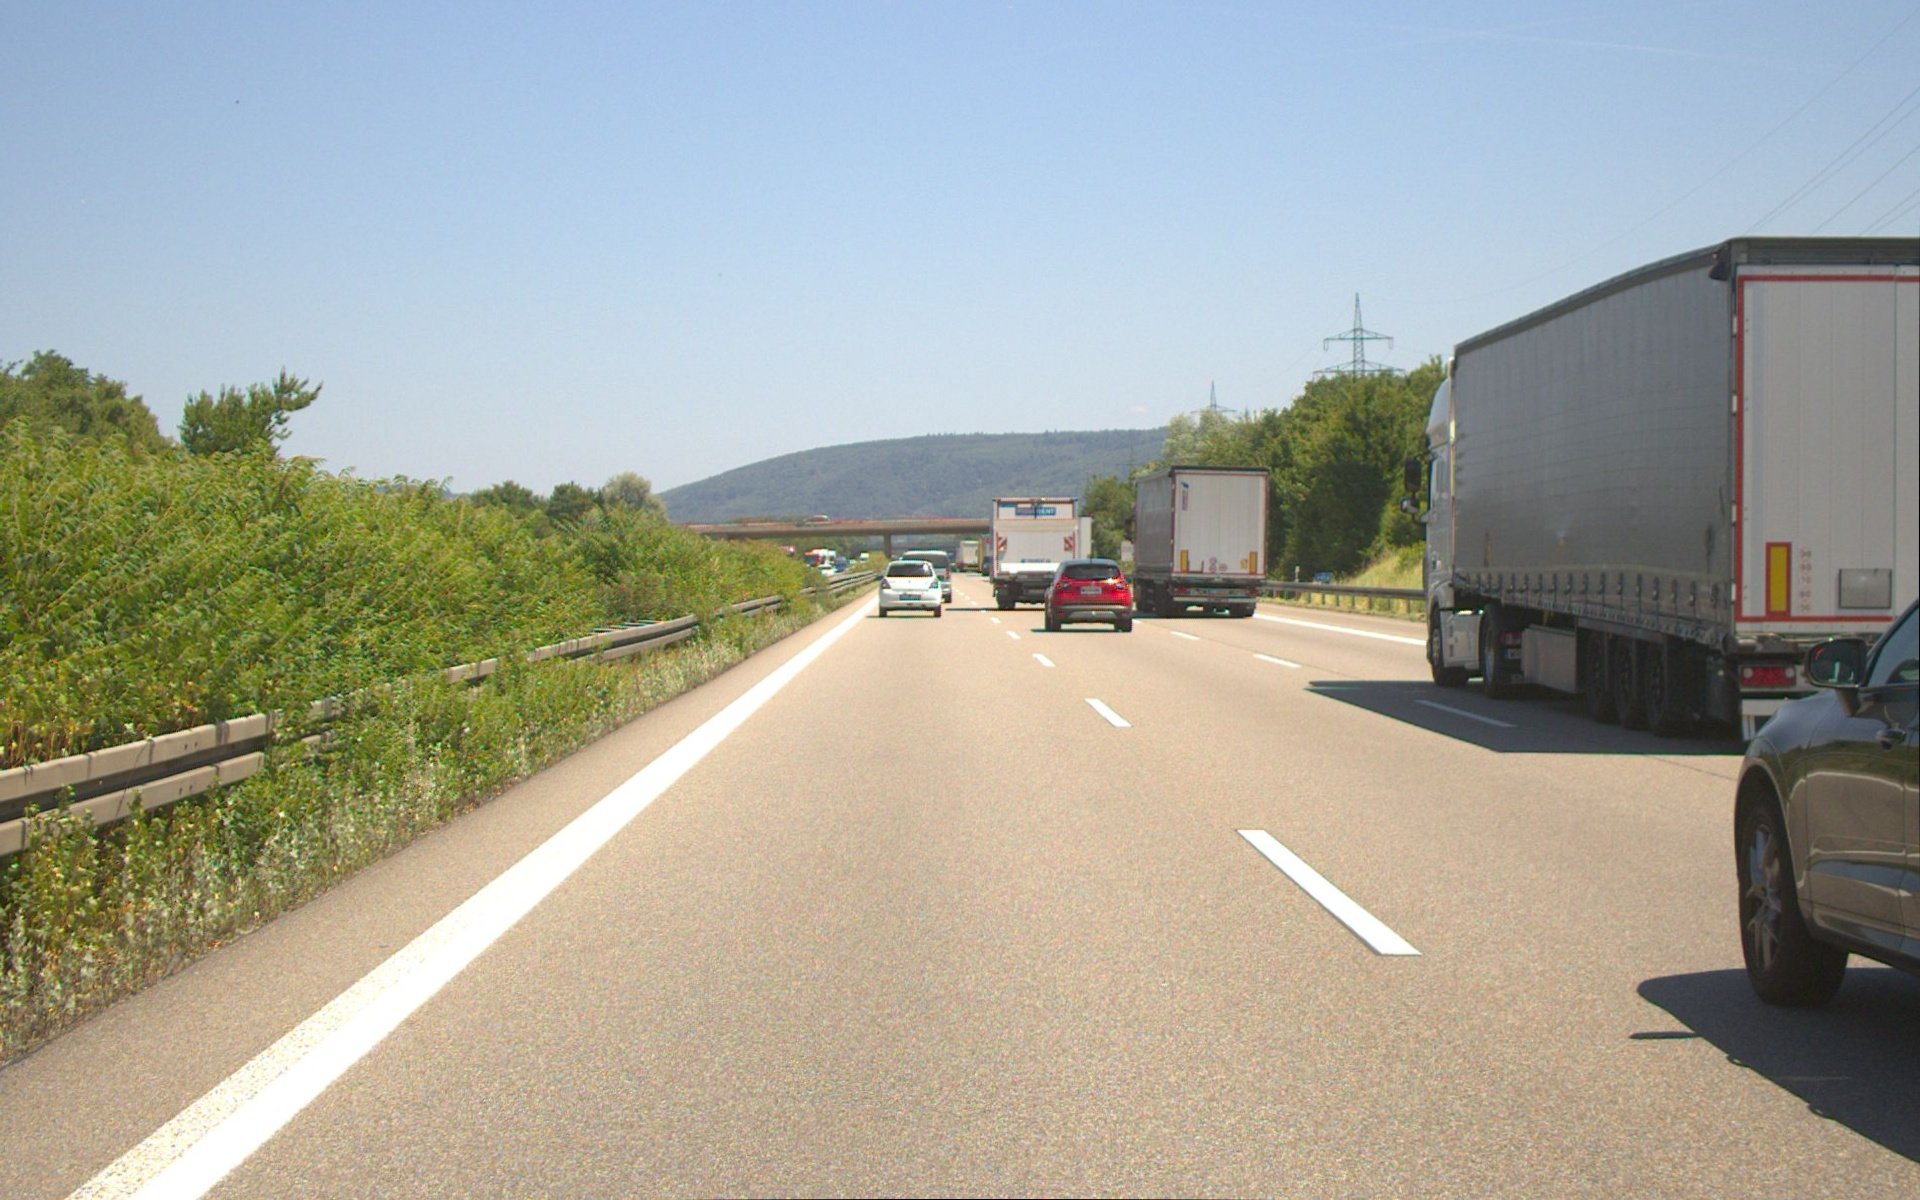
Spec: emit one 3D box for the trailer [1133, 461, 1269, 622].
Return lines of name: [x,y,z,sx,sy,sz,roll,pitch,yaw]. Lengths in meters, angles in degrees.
trailer: [6.645,-1.605,96.797,2.789,4.149,13.574,-1,1,0]

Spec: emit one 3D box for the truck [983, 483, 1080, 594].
truck: [2.194,-1.902,108.170,2.782,3.361,8.128,0,0,-1]

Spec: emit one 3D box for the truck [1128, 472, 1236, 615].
truck: [6.620,-1.680,103.301,2.795,4.149,5.723,-1,1,0]

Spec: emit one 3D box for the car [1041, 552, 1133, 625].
car: [2.732,-0.261,74.595,1.803,1.540,4.000,0,1,0]

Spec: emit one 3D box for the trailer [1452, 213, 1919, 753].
trailer: [7.061,-0.958,32.671,2.736,4.092,13.123,0,1,-1]

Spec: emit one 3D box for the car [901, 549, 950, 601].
car: [-1.261,-0.934,124.459,1.760,1.844,4.000,0,1,-1]

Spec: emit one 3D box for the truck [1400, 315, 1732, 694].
truck: [6.970,-1.072,40.385,2.736,4.105,6.125,0,1,-1]

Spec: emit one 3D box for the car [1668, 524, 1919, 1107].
car: [3.581,0.582,10.671,1.873,1.618,4.004,0,1,-1]

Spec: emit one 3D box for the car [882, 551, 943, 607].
car: [-1.281,-0.589,93.357,1.607,1.463,4.000,0,1,-1]

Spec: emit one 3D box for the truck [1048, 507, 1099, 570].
truck: [6.034,-3.278,183.462,2.221,3.198,10.385,-1,1,-1]
